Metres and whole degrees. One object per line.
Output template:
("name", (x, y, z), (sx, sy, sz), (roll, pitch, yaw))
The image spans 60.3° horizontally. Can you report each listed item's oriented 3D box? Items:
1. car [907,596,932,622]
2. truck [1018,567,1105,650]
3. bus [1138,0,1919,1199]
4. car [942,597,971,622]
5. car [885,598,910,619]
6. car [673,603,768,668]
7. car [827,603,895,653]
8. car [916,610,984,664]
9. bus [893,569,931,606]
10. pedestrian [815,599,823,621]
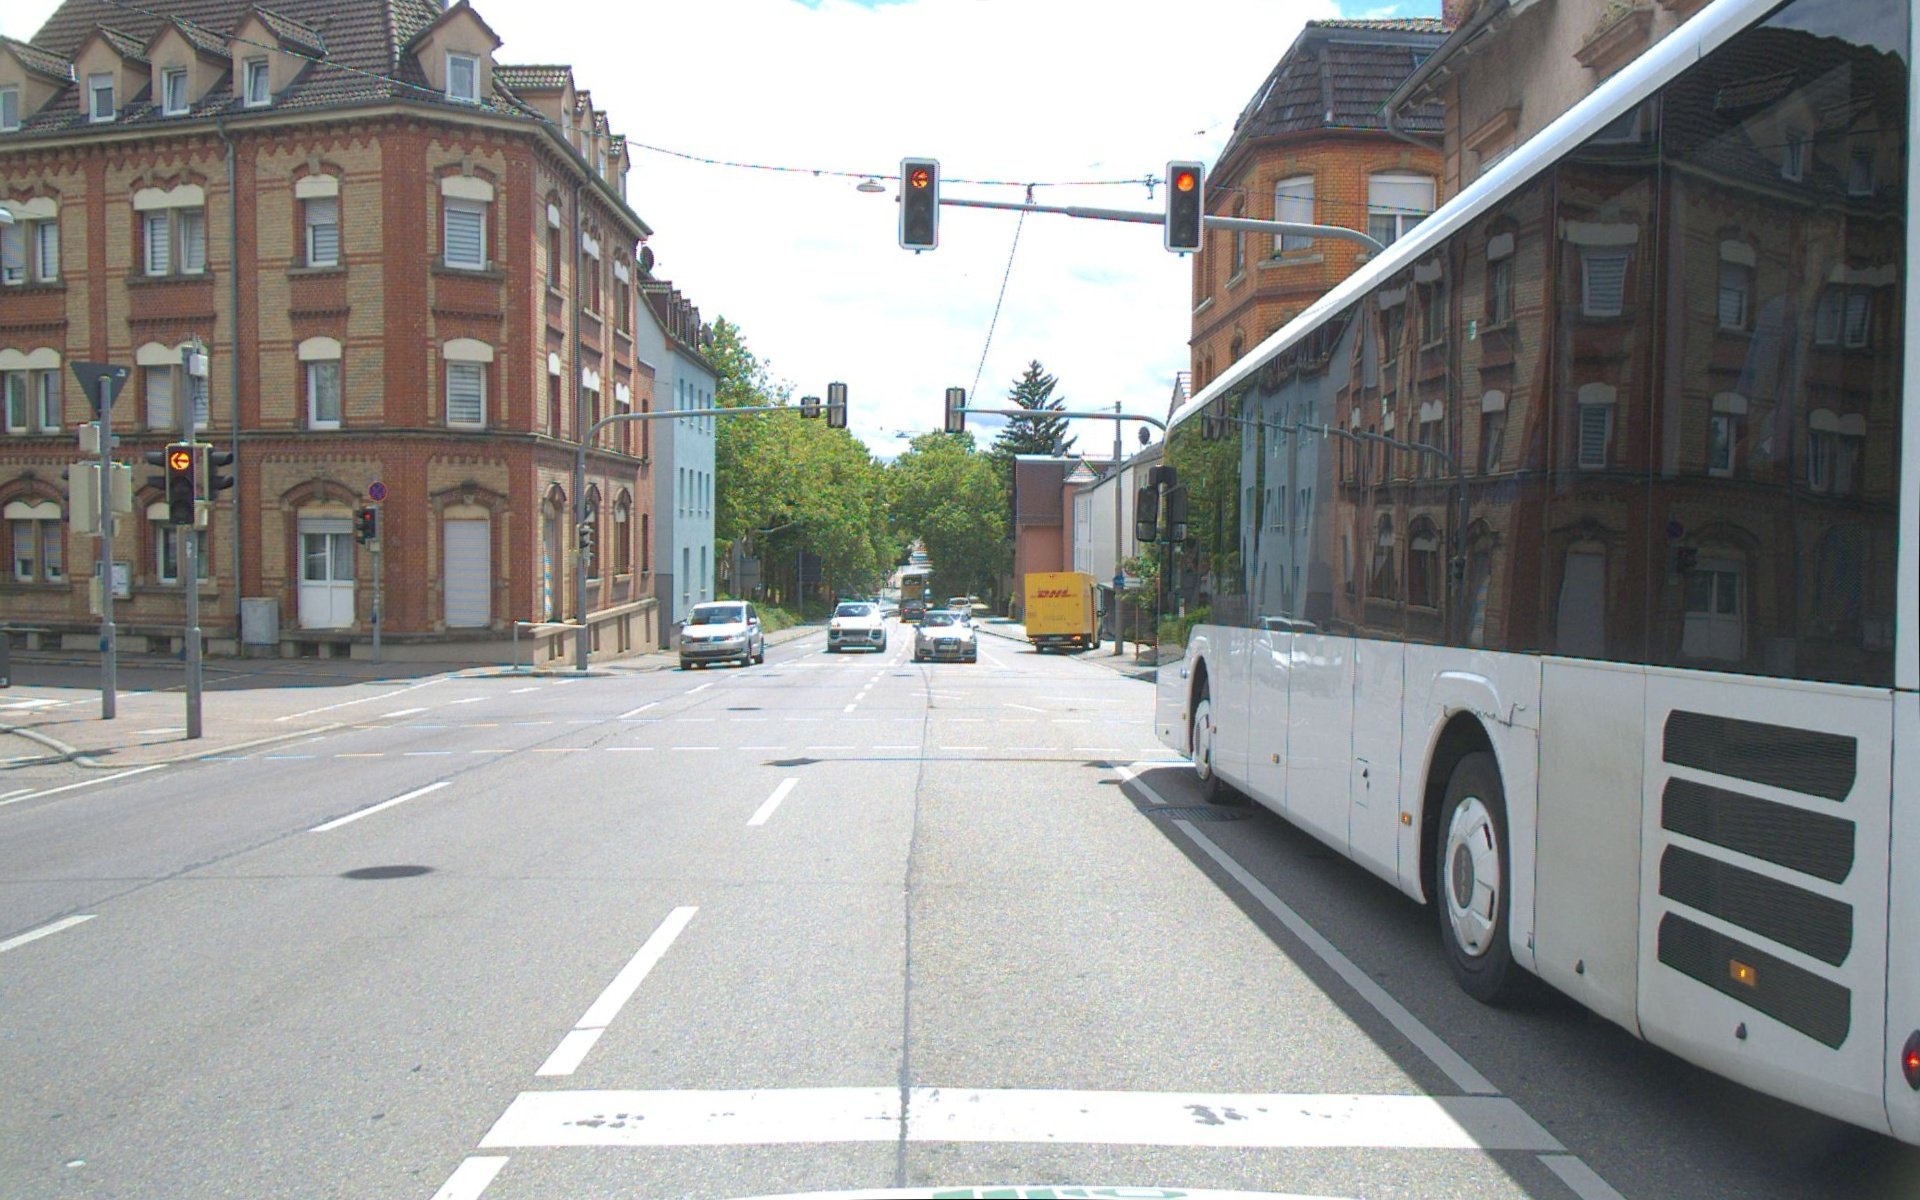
("car", (-2.910, 0.620, 120.112), (1.782, 1.816, 3.999), (0, 0, -1))
("truck", (3.945, 0.327, 62.988), (2.487, 2.964, 6.578), (1, 0, 10))
("bus", (3.210, -0.181, 9.341), (2.845, 3.571, 12.484), (1, 0, -1))
("car", (-0.284, 0.742, 129.490), (2.050, 1.862, 4.139), (0, 0, -4))
("car", (-5.605, 0.738, 148.342), (2.050, 1.862, 4.139), (0, 0, -4))
("car", (-6.185, 0.888, 43.209), (1.896, 1.591, 4.388), (0, 0, -1))
("car", (-3.405, 0.924, 57.565), (2.162, 1.641, 4.546), (0, 0, -1))
("car", (-0.307, 1.013, 46.623), (1.827, 1.391, 4.546), (0, 0, -1))
("bus", (-5.160, -1.307, 175.488), (3.237, 3.694, 11.229), (-1, 0, -6))
("pedestrian", (-11.656, 0.839, 136.457), (0.594, 1.789, 0.653), (0, 0, -2))
